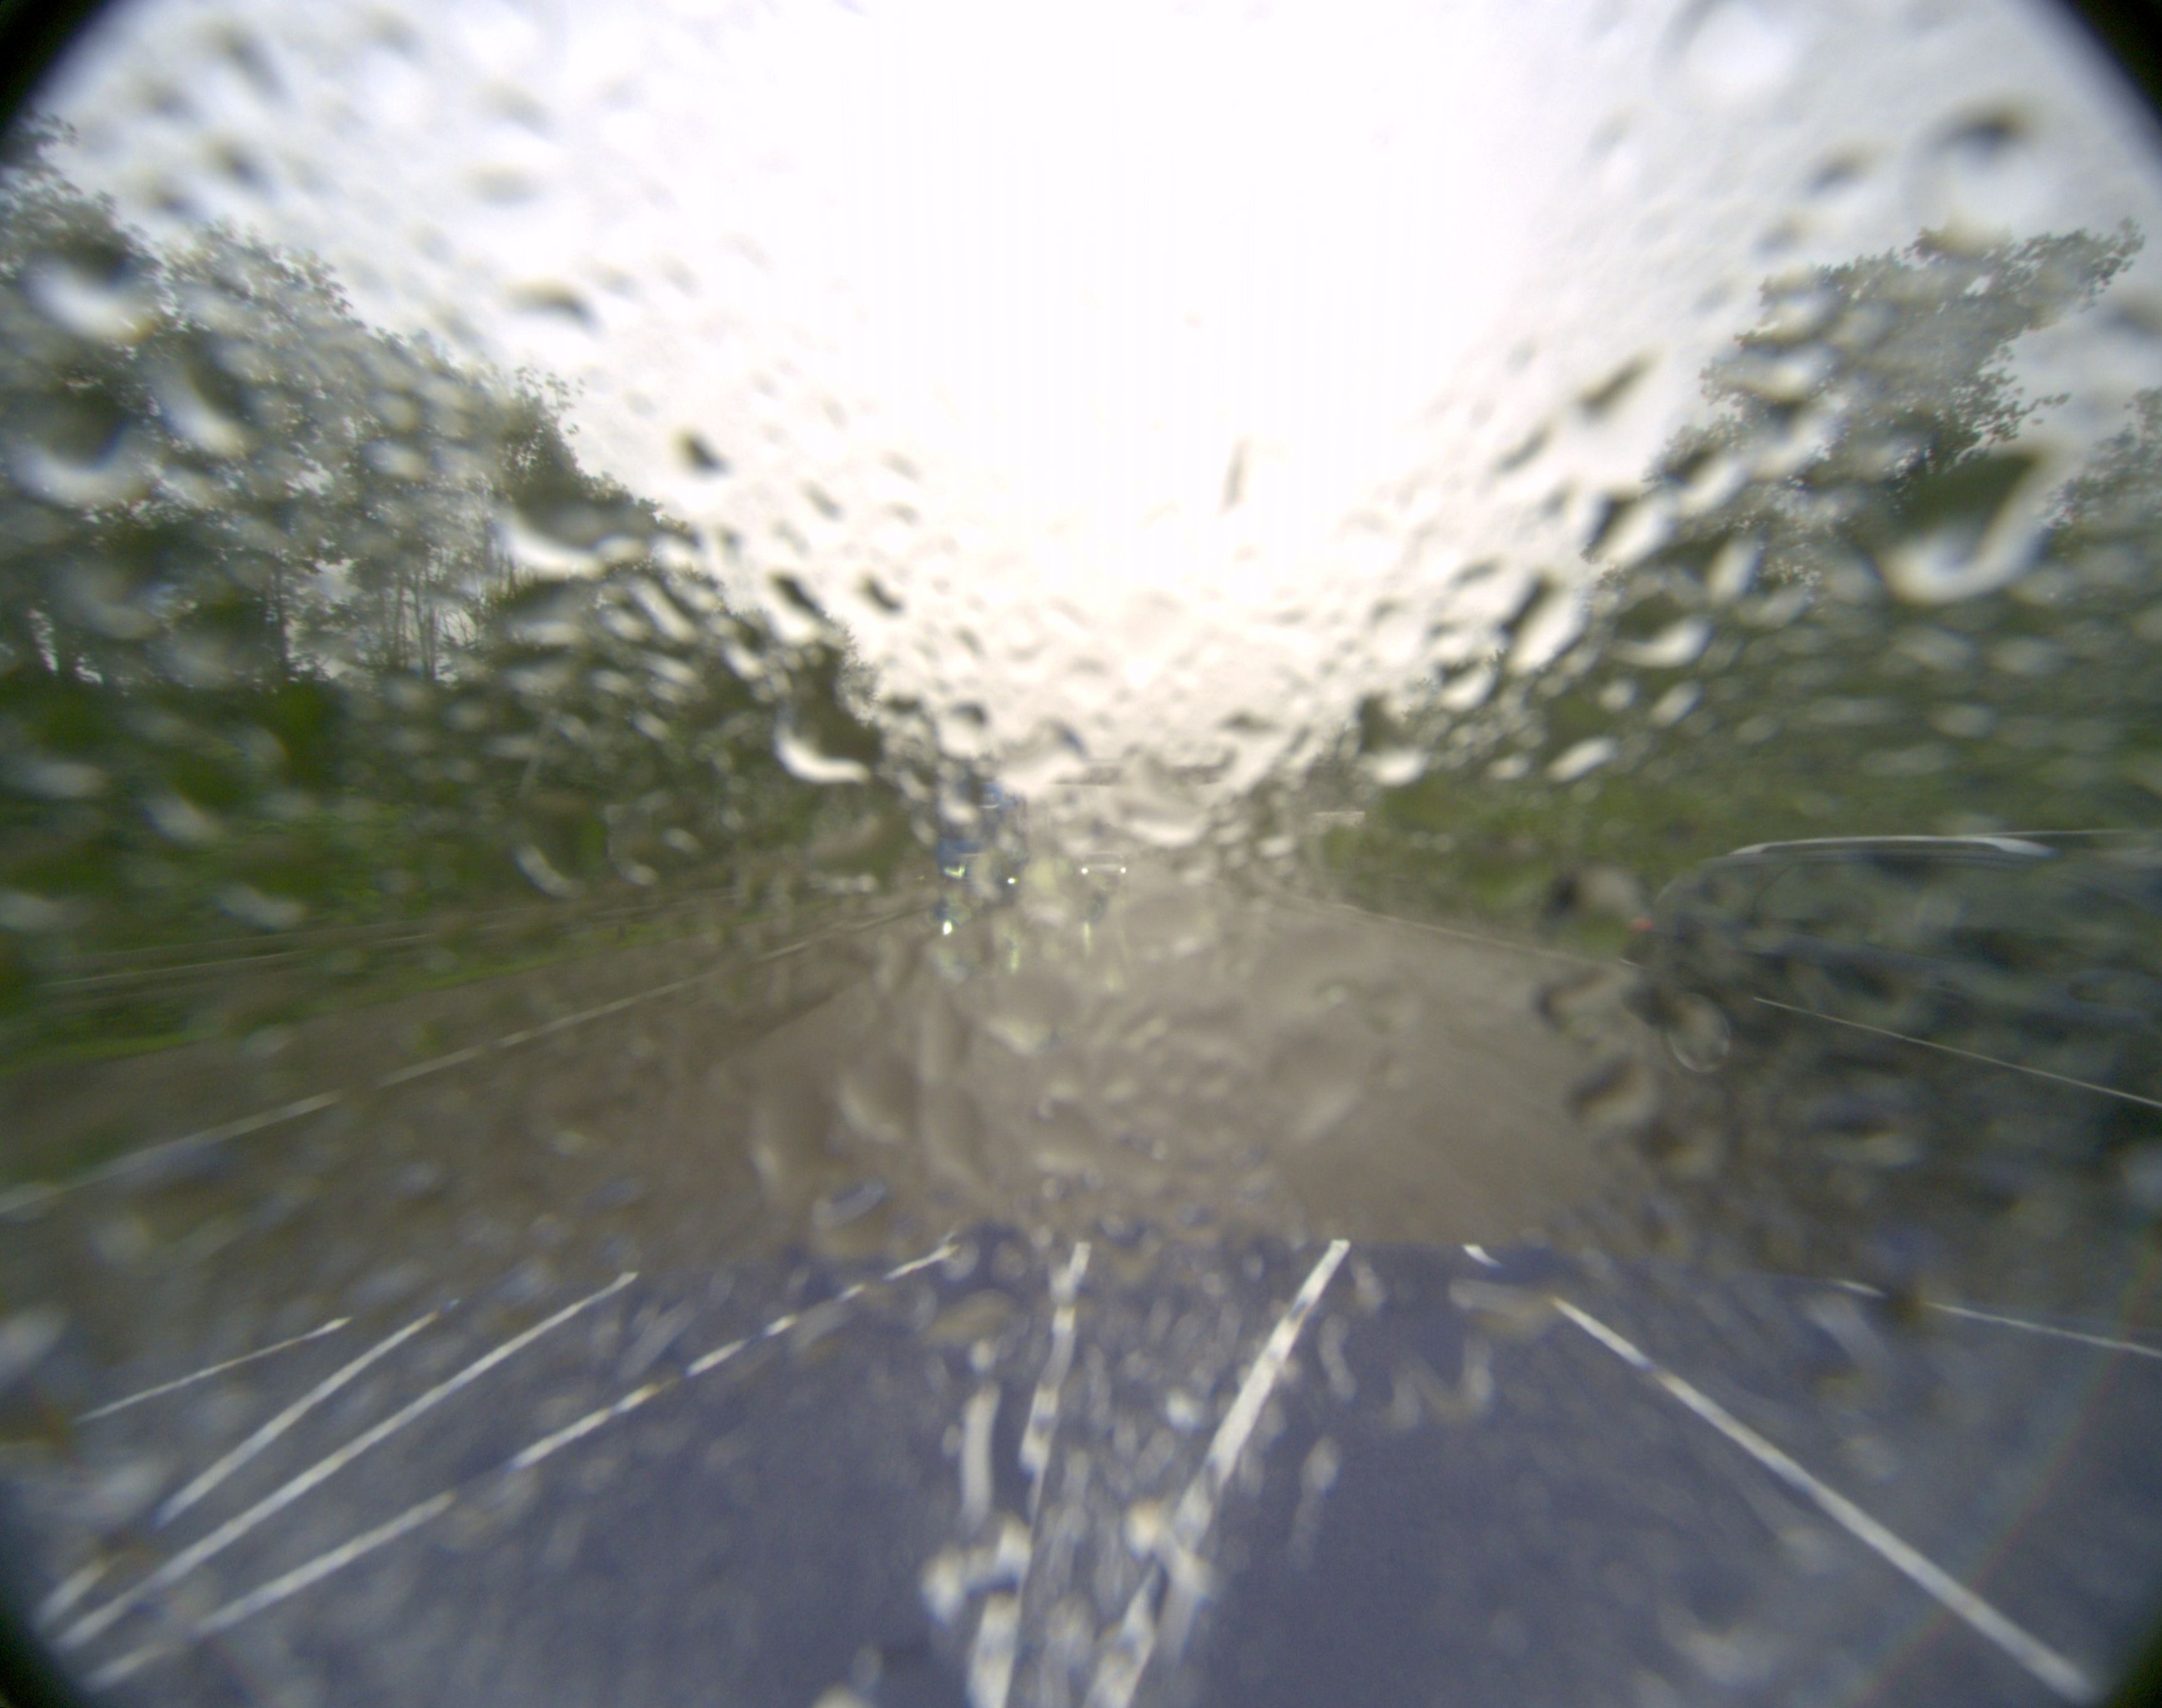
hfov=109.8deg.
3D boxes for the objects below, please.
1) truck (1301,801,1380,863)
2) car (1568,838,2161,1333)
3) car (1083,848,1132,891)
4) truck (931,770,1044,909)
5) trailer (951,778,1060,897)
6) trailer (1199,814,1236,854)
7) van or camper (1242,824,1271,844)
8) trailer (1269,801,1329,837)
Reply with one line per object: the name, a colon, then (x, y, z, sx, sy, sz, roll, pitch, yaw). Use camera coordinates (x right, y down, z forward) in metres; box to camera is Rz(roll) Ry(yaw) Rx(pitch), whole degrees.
truck: (18.234, -1.497, 53.978, 3.042, 3.994, 7.706, -2, 1, 1)
car: (4.391, 0.718, 2.642, 2.059, 1.477, 5.157, -2, 1, 0)
car: (1.011, 0.566, 30.131, 1.752, 1.545, 4.090, -2, 0, 1)
truck: (-2.946, -0.487, 25.895, 2.755, 4.055, 6.482, -2, 1, 2)
trailer: (-2.749, -0.677, 32.853, 2.751, 3.941, 14.128, -2, 1, 2)
trailer: (19.926, -2.799, 111.670, 3.436, 5.426, 11.547, -2, 1, 2)
van or camper: (19.076, -2.097, 82.805, 1.990, 2.002, 5.895, -2, 1, 2)
trailer: (23.352, -3.662, 82.183, 3.436, 3.365, 11.547, -2, 1, 2)
